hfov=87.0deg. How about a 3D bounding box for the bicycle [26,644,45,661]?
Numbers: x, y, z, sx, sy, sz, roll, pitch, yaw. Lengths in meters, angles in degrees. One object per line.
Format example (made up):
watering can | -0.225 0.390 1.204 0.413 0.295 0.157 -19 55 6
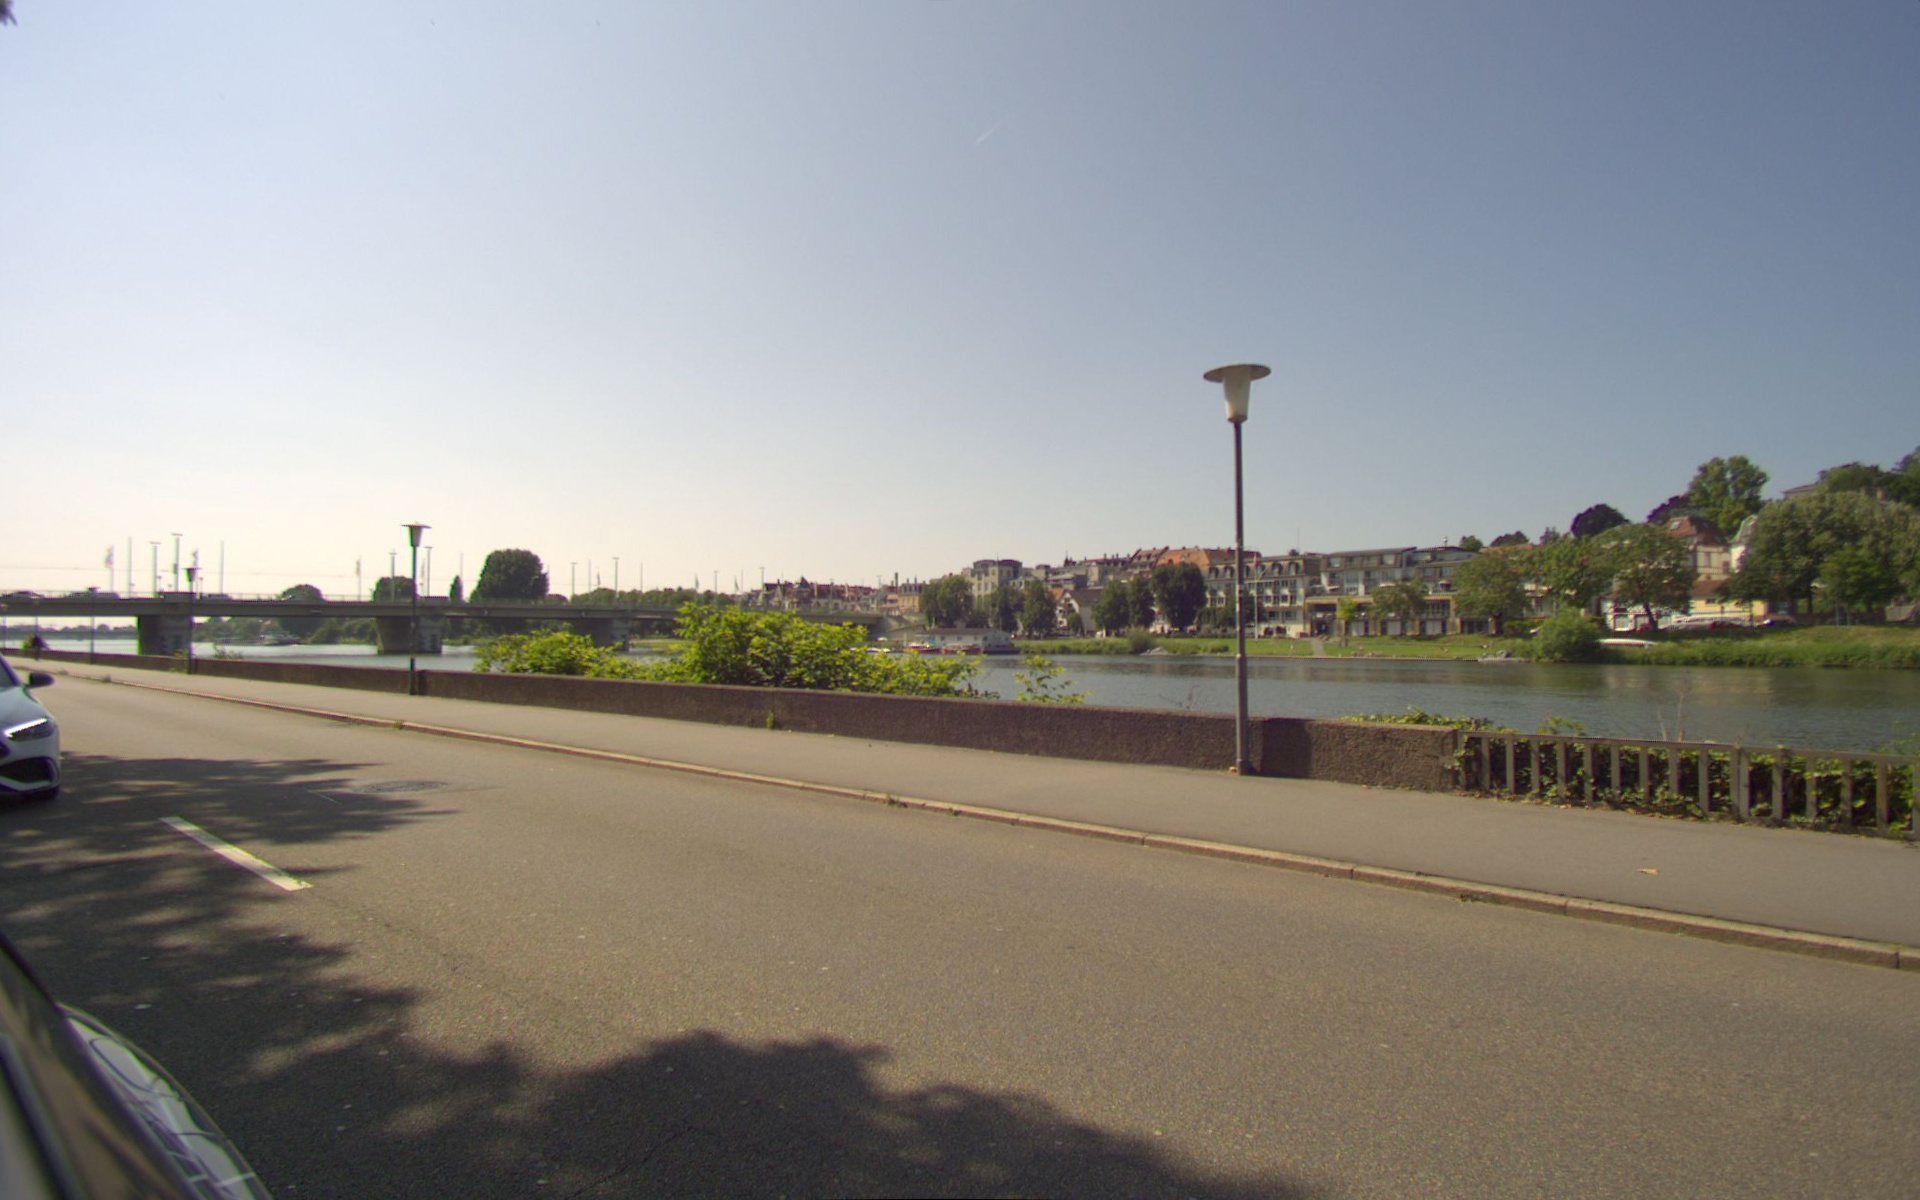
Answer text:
bicycle | -55.984 3.161 61.261 1.943 0.990 0.645 -2 -2 42

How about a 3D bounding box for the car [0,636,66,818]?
car | -9.605 1.073 9.121 4.550 1.430 1.806 -2 -2 42

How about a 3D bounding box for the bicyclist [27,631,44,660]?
bicyclist | -55.989 2.742 61.284 0.974 1.715 0.654 -2 -3 42
